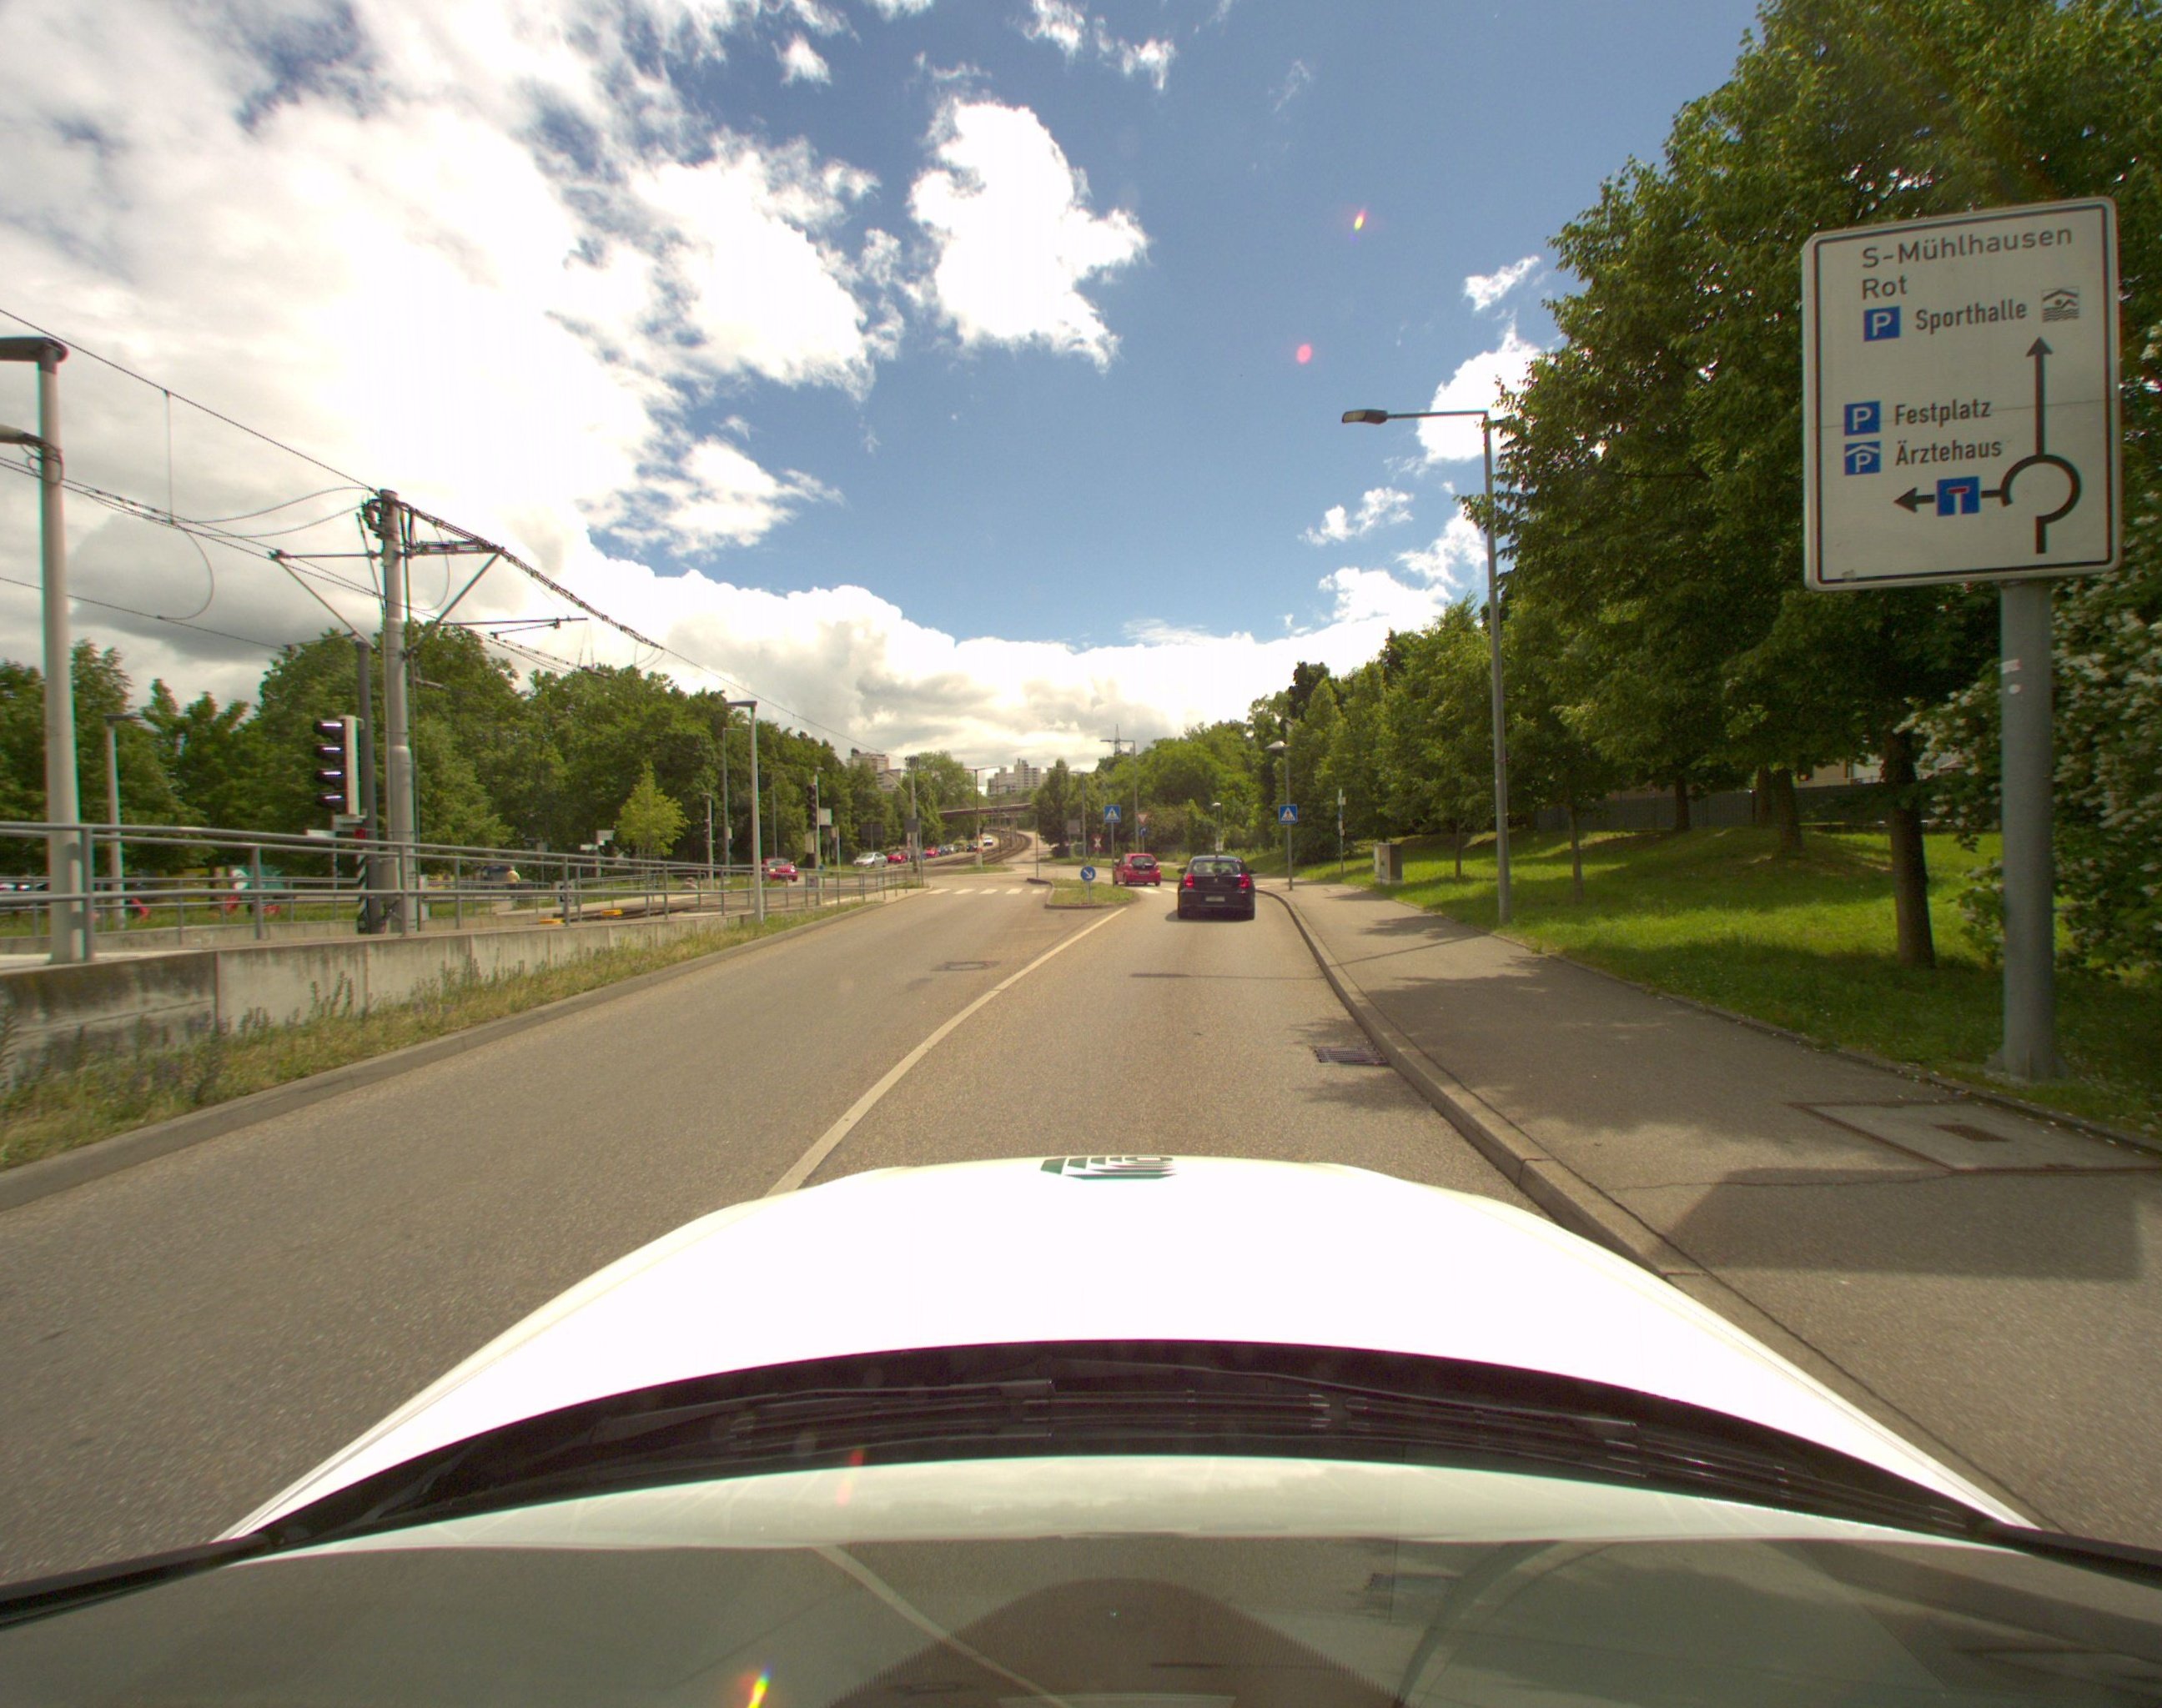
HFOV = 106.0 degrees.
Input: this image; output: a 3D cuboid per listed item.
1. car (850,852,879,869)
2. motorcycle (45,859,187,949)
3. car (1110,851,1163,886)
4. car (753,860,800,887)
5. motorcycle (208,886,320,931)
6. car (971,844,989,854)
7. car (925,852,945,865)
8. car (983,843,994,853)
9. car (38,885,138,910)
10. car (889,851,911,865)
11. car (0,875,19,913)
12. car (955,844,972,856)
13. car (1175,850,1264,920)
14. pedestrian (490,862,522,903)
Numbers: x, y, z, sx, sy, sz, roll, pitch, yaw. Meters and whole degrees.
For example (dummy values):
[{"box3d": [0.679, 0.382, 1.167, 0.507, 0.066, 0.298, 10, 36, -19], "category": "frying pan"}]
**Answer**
[{"box3d": [-19.561, 0.542, 73.724, 1.875, 1.350, 3.823, -2, 1, -6], "category": "car"}, {"box3d": [-23.096, 1.146, 19.557, 0.827, 2.013, 1.990, -2, 0, 13], "category": "motorcycle"}, {"box3d": [2.487, 0.657, 37.238, 1.764, 1.432, 3.470, -2, 0, -7], "category": "car"}, {"box3d": [-18.413, 1.151, 49.196, 1.734, 1.503, 2.932, -2, 1, -39], "category": "car"}, {"box3d": [-22.882, 1.491, 22.876, 0.725, 1.081, 2.220, -2, 0, 7], "category": "motorcycle"}, {"box3d": [-16.552, -0.807, 133.396, 1.984, 1.597, 4.425, -2, 0, 4], "category": "car"}, {"box3d": [-19.857, 0.582, 110.857, 1.905, 1.561, 4.003, -2, 1, 2], "category": "car"}, {"box3d": [-19.243, -1.185, 170.054, 1.994, 2.013, 3.986, -2, 1, -10], "category": "car"}, {"box3d": [-52.462, 2.287, 43.071, 1.398, 1.081, 3.125, -1, 1, 31], "category": "car"}, {"box3d": [-19.922, 0.431, 89.625, 1.523, 1.370, 3.597, -2, 0, 0], "category": "car"}, {"box3d": [-50.420, 1.872, 37.285, 4.085, 1.638, 2.013, -1, 1, 36], "category": "car"}, {"box3d": [-19.852, -0.697, 137.456, 1.985, 1.862, 4.003, -1, 1, 3], "category": "car"}, {"box3d": [3.226, 0.686, 19.317, 1.805, 1.421, 4.009, -3, -1, 8], "category": "car"}, {"box3d": [-28.539, 1.404, 40.445, 0.952, 2.013, 0.826, -1, 1, 18], "category": "pedestrian"}]
